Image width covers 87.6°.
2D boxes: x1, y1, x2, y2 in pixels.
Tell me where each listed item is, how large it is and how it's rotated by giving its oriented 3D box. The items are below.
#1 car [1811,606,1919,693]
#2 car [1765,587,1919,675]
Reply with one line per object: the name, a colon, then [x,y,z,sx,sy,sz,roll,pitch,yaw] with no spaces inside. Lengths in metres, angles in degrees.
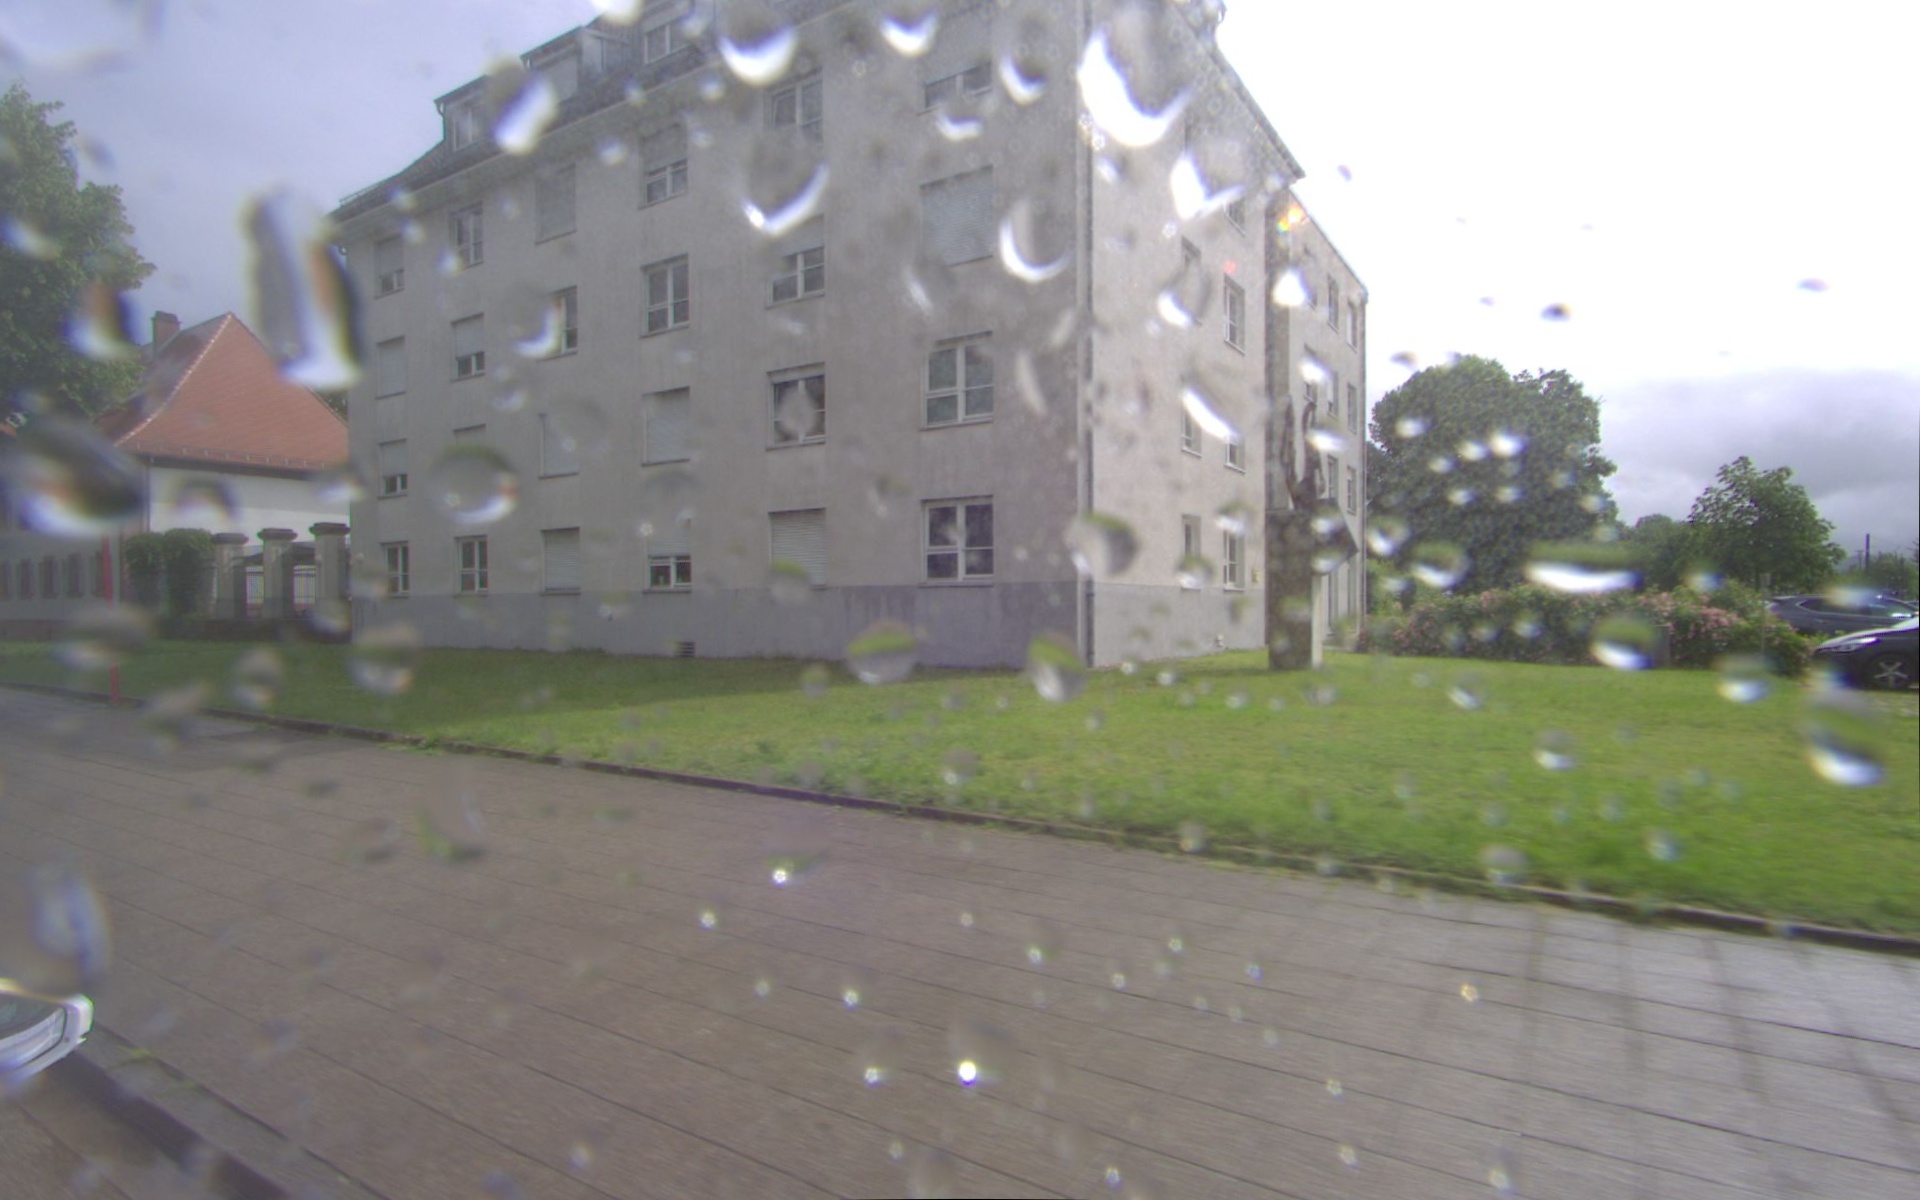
car: [15.985,0.773,15.700,3.819,1.343,1.384,0,1,32]
car: [20.716,0.660,22.329,4.073,1.874,1.925,0,1,32]
